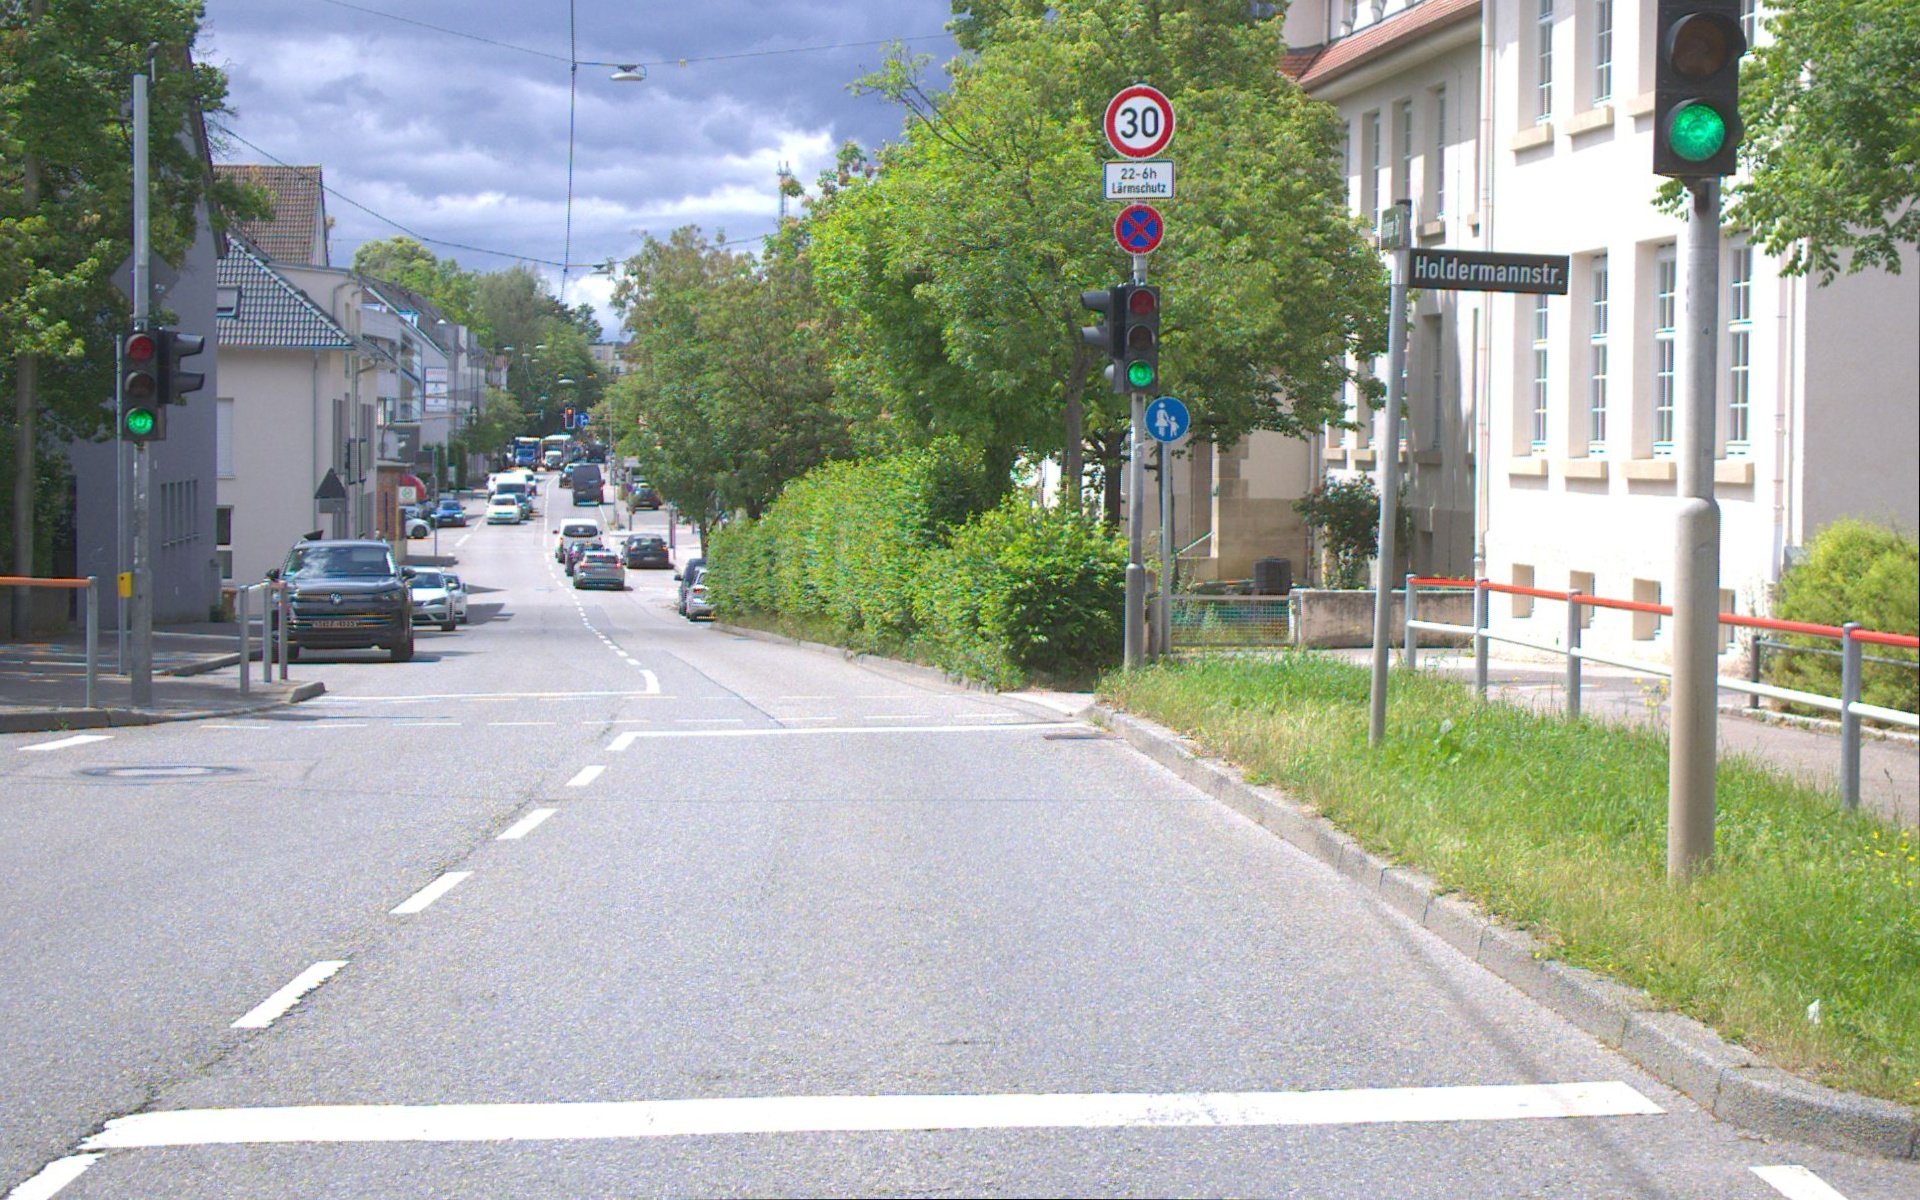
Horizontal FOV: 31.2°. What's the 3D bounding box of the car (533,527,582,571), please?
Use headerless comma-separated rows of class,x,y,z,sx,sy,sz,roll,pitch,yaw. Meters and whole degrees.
car,-17.782,-2.265,151.665,1.836,1.855,3.851,1,1,-11

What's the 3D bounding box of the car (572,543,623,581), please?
car,-14.024,-1.478,132.918,1.743,1.412,4.001,0,1,-9

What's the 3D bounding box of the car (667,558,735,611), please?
car,-7.722,-0.470,102.160,1.786,1.504,4.365,1,1,-7

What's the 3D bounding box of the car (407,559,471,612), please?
car,-14.662,-0.426,96.834,1.646,1.414,3.699,1,1,-7

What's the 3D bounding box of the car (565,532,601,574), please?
car,-15.647,-1.957,142.575,1.273,1.522,3.052,0,4,-11

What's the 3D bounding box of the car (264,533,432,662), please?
car,-8.093,-0.074,45.805,1.795,1.605,4.647,0,1,-5

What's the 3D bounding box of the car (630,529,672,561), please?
car,-13.390,-2.382,148.775,1.752,1.366,4.001,1,1,-6

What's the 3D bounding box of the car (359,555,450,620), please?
car,-12.760,-0.309,78.821,1.697,1.385,3.867,0,2,-15

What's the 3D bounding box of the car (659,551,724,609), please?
car,-8.462,-0.651,108.082,1.844,1.761,4.516,1,1,-7

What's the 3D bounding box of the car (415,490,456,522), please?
car,-28.512,-5.123,187.115,1.872,1.634,4.001,2,1,-5
